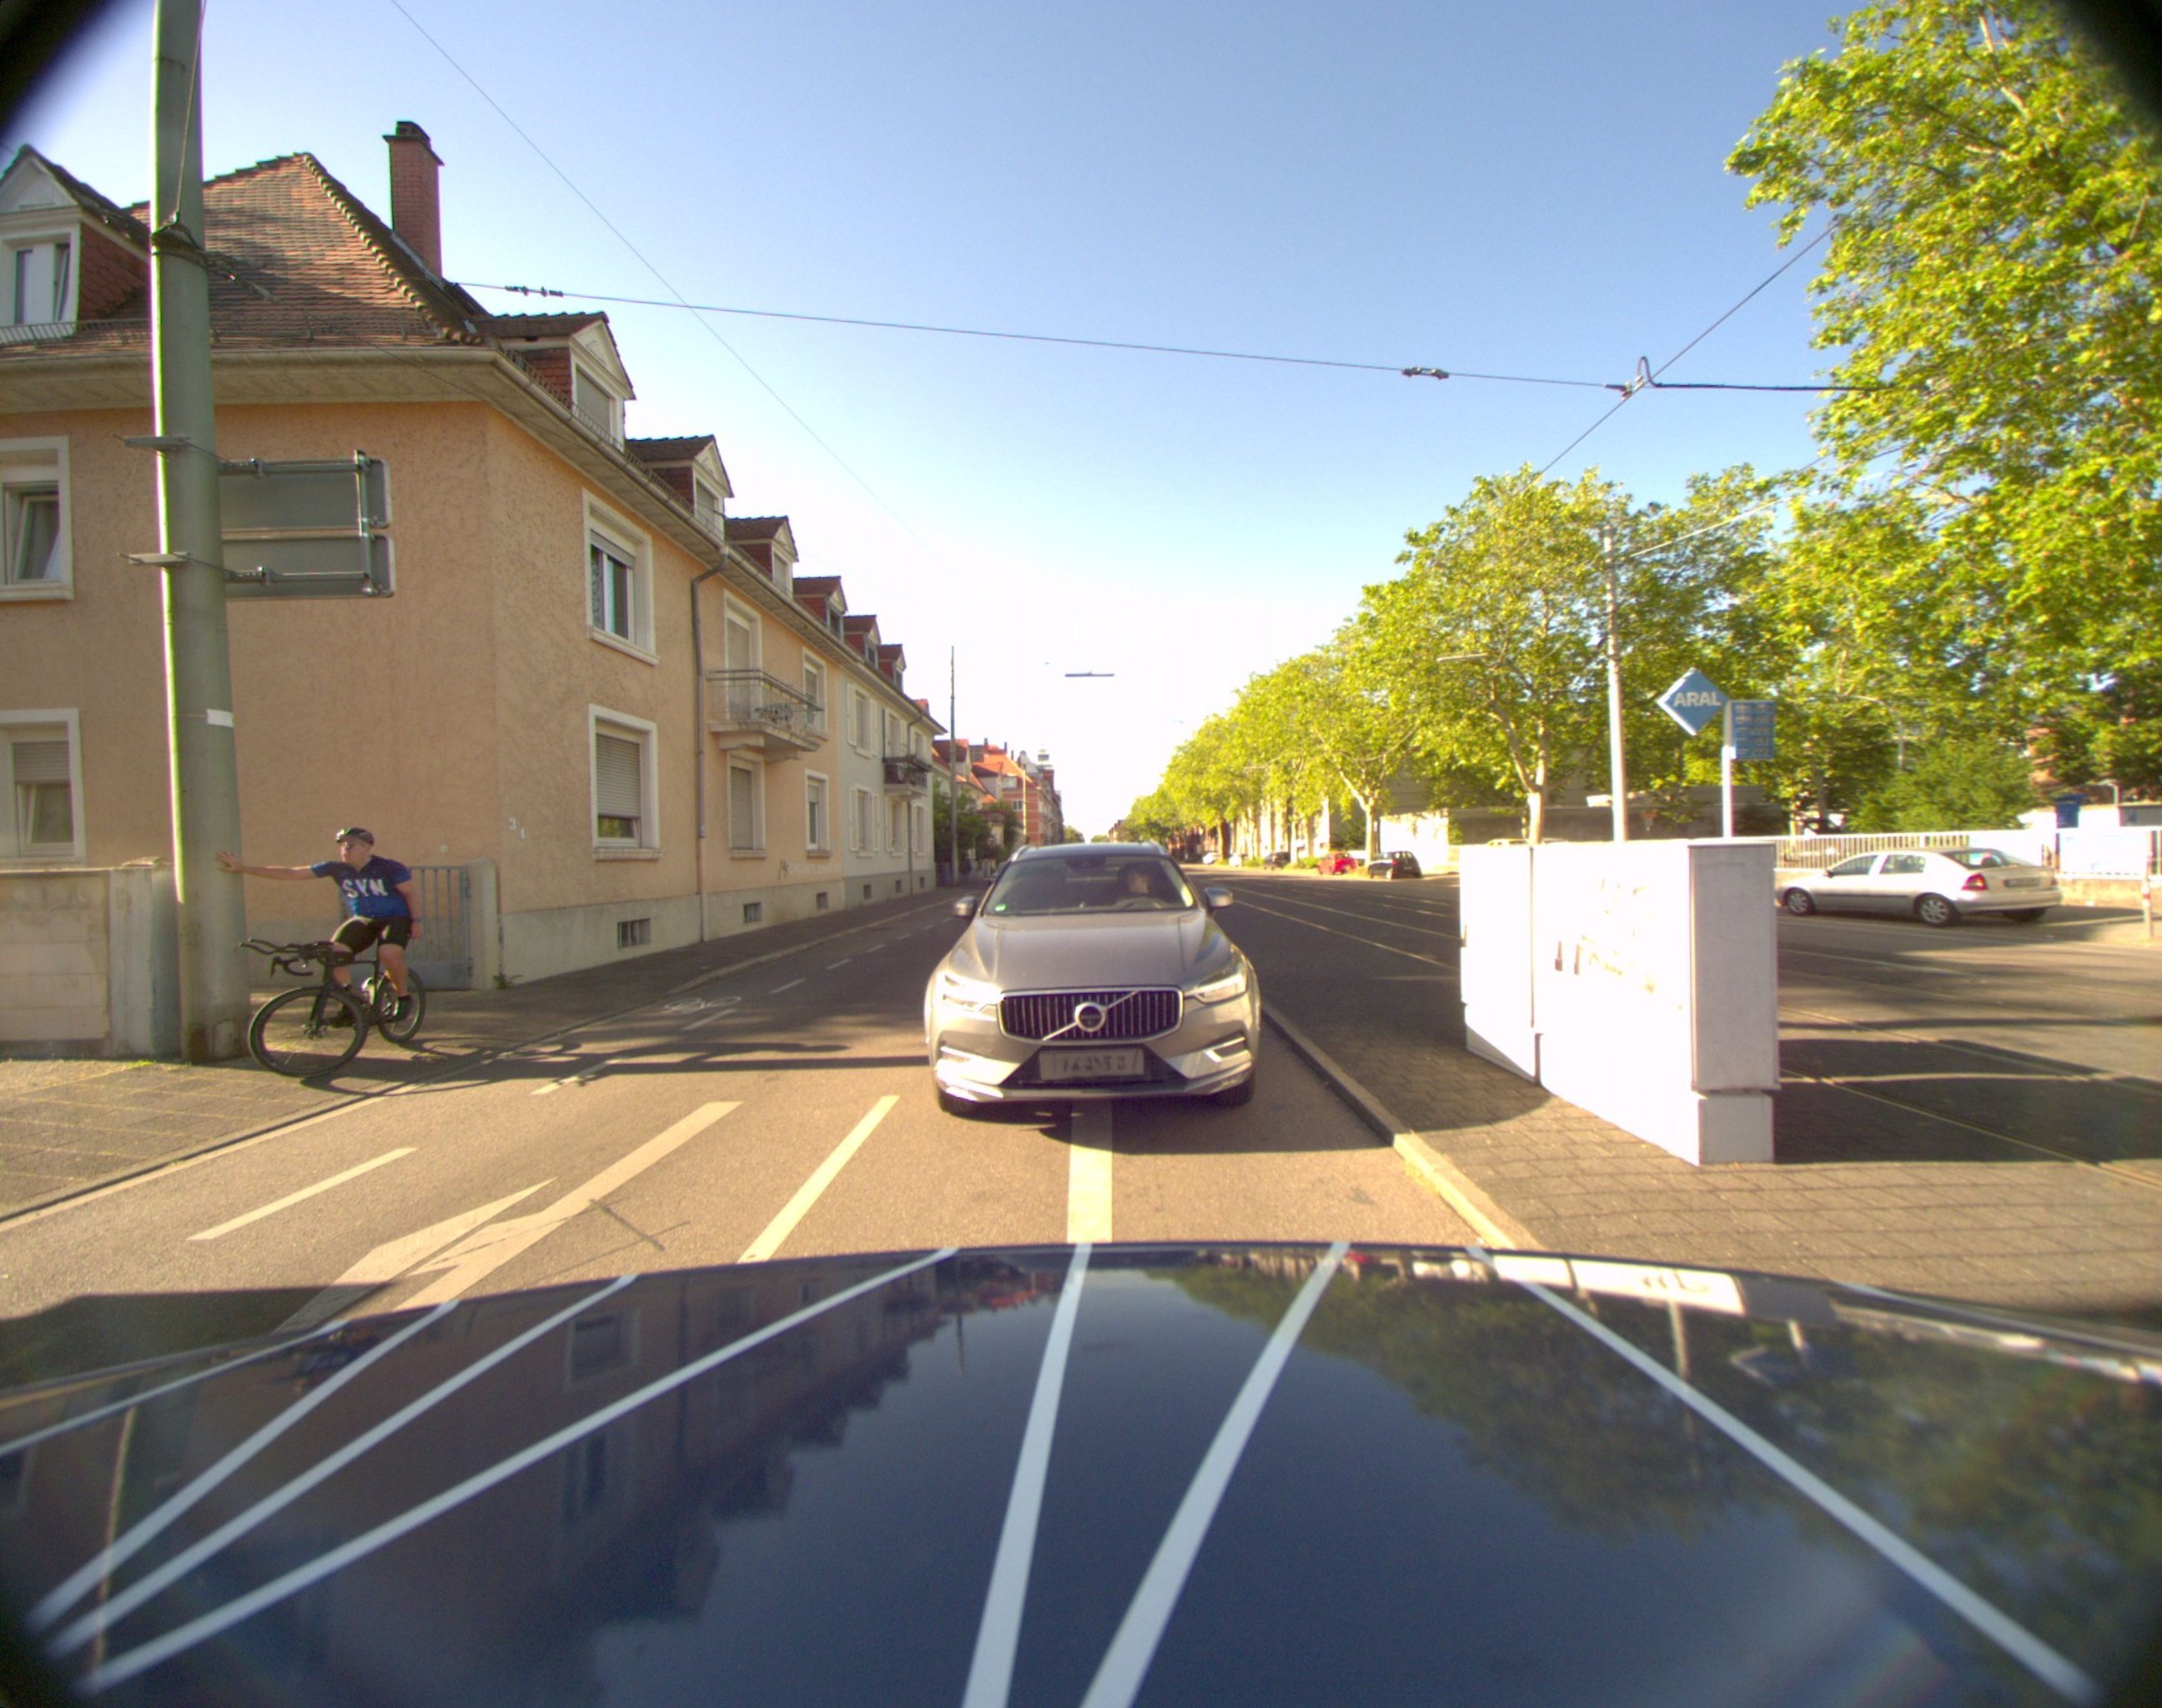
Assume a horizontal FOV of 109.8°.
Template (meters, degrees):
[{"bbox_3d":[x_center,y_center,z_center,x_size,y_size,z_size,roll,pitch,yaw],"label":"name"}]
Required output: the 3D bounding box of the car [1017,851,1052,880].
[{"bbox_3d":[-2.783,0.678,46.655,1.847,1.681,4.000,-1,0,0],"label":"car"}]

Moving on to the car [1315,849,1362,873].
[{"bbox_3d":[16.966,0.448,50.301,1.845,1.400,4.001,-4,0,3],"label":"car"}]

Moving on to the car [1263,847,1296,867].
[{"bbox_3d":[17.172,0.227,65.886,1.845,1.607,4.098,-4,0,3],"label":"car"}]

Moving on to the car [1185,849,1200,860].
[{"bbox_3d":[18.372,-0.003,125.400,1.845,1.664,4.098,-4,0,3],"label":"car"}]

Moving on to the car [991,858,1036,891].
[{"bbox_3d":[-3.225,0.950,36.966,1.847,1.412,3.999,-1,0,-1],"label":"car"}]

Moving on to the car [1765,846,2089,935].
[{"bbox_3d":[16.239,0.618,14.967,1.846,1.400,3.999,-4,0,-1],"label":"car"}]

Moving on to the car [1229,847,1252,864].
[{"bbox_3d":[17.494,0.121,83.534,1.845,1.664,4.098,-4,0,3],"label":"car"}]

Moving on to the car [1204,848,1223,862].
[{"bbox_3d":[17.599,0.080,100.896,1.845,1.664,4.098,-4,0,3],"label":"car"}]

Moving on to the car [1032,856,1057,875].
[{"bbox_3d":[-2.875,0.865,60.396,1.808,1.402,3.999,-1,0,-1],"label":"car"}]

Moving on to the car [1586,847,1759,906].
[{"bbox_3d":[16.521,0.568,21.540,1.845,1.400,4.138,-4,0,4],"label":"car"}]

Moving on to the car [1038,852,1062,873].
[{"bbox_3d":[-2.671,0.699,65.759,1.847,1.681,4.000,-1,0,0],"label":"car"}]

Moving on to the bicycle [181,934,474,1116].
[{"bbox_3d":[-5.924,1.279,6.141,0.594,1.045,1.719,4,1,1],"label":"bicycle"}]

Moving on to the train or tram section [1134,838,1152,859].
[{"bbox_3d":[10.511,-0.973,129.408,2.842,3.456,10.184,-2,1,4],"label":"train or tram section"}]

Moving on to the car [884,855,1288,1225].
[{"bbox_3d":[0.005,0.891,5.777,1.892,1.695,4.318,-1,0,-1],"label":"car"}]

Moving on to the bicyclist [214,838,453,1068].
[{"bbox_3d":[-6.164,0.771,6.334,1.071,1.728,0.853,4,1,1],"label":"bicyclist"}]

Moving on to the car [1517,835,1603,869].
[{"bbox_3d":[24.047,-0.110,38.327,1.845,1.524,4.000,-4,0,2],"label":"car"}]

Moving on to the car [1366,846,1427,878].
[{"bbox_3d":[16.970,0.410,41.077,1.845,1.524,4.001,-4,0,4],"label":"car"}]

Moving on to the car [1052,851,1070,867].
[{"bbox_3d":[-2.240,0.556,85.474,1.999,1.641,4.658,-1,0,-1],"label":"car"}]

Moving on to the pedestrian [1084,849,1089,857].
[{"bbox_3d":[1.335,-0.290,182.664,1.104,2.002,1.242,-1,1,1],"label":"pedestrian"}]

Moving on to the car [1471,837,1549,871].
[{"bbox_3d":[21.753,-0.026,38.704,1.845,1.524,4.001,-4,0,4],"label":"car"}]

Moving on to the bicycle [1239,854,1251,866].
[{"bbox_3d":[15.473,0.576,71.696,0.654,1.114,2.533,-1,0,1],"label":"bicycle"}]

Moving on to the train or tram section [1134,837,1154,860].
[{"bbox_3d":[9.829,-0.859,119.264,2.861,3.456,10.184,-1,0,3],"label":"train or tram section"}]

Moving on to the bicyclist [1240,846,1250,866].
[{"bbox_3d":[15.461,0.156,71.693,0.720,1.853,1.071,-1,1,0],"label":"bicyclist"}]

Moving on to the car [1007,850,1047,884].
[{"bbox_3d":[-2.958,0.690,42.239,1.847,1.742,4.144,-1,0,0],"label":"car"}]
